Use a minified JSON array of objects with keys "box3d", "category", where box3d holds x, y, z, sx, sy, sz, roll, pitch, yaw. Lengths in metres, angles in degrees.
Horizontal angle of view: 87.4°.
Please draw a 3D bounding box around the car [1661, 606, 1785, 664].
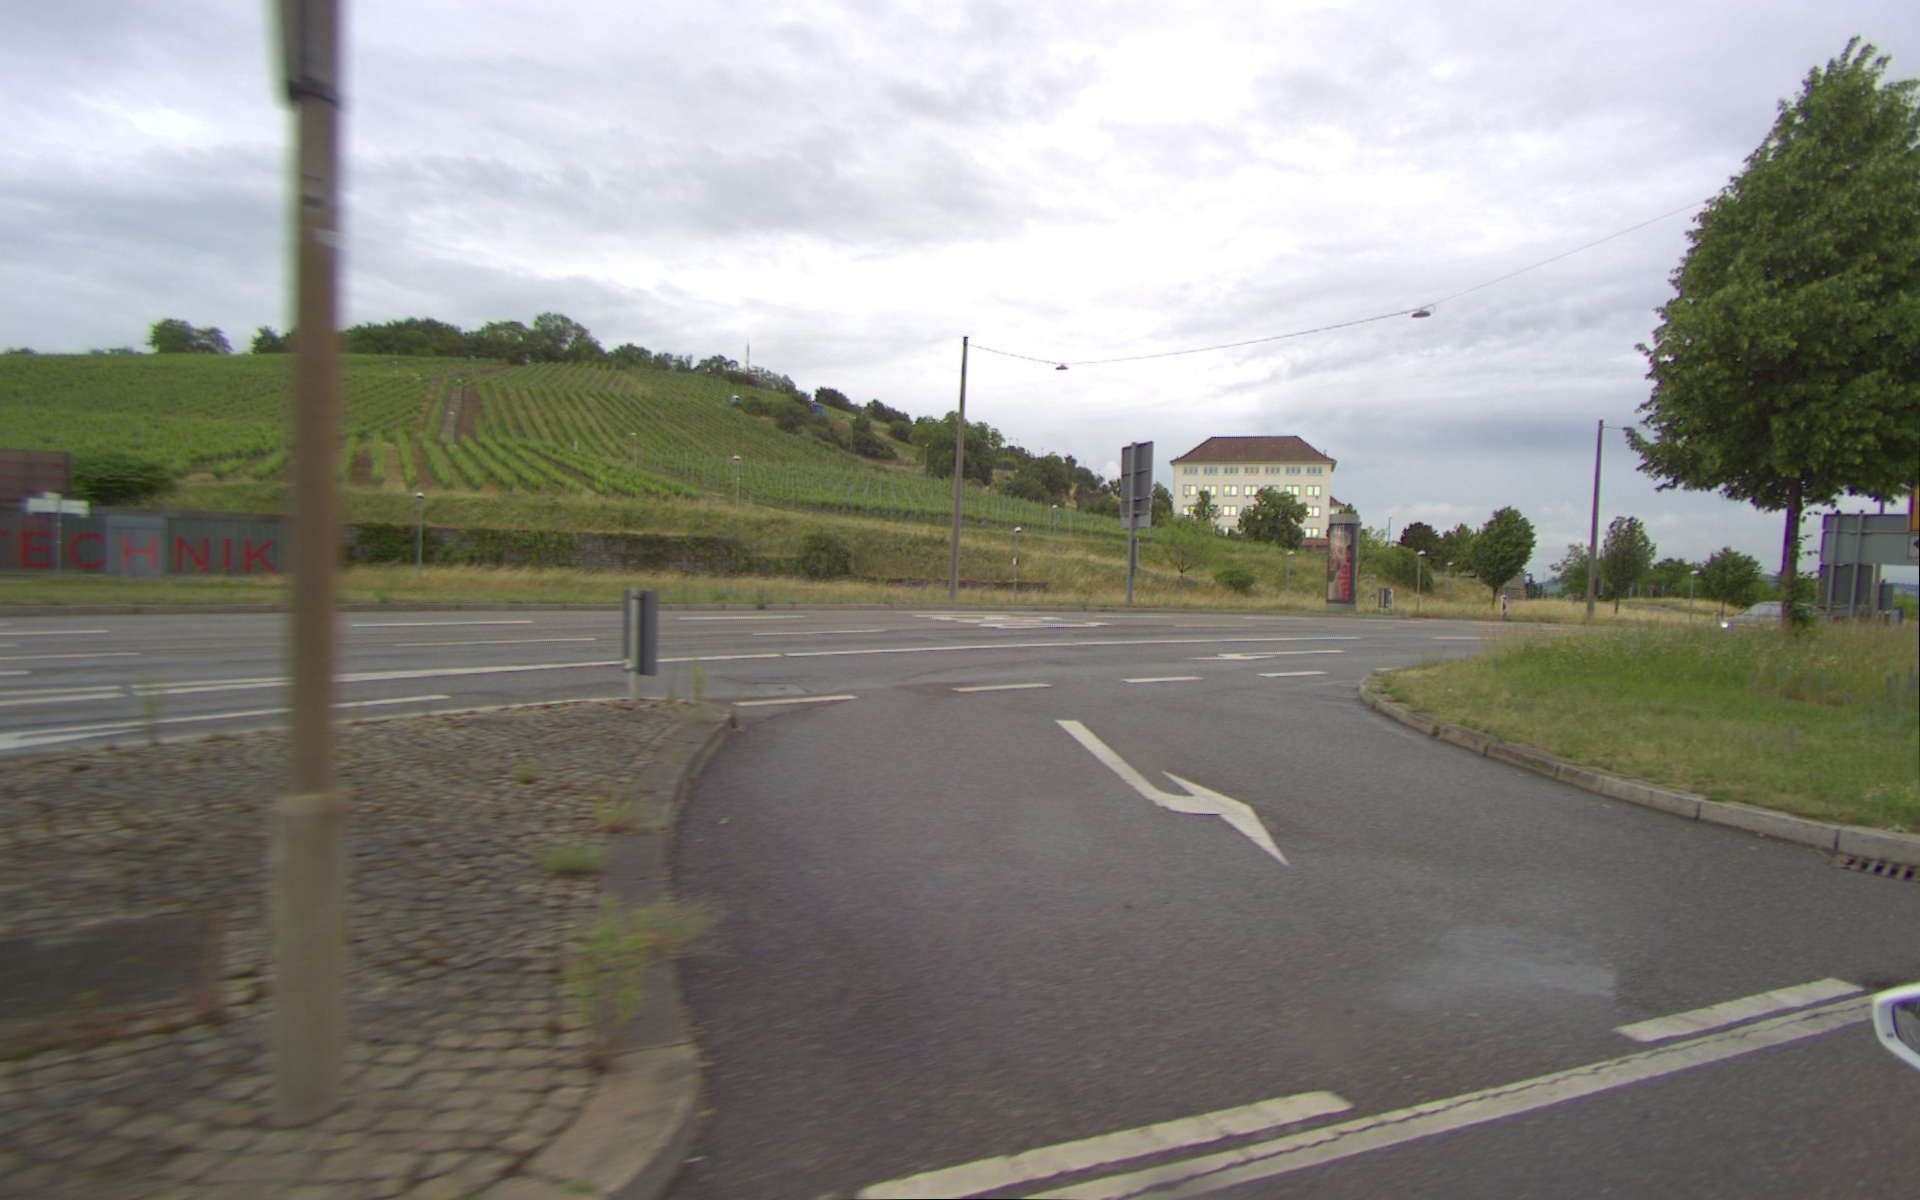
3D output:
[{"box3d":[24.781,1.115,32.587,4.311,1.676,1.867,1,1,-34],"category":"car"}]
